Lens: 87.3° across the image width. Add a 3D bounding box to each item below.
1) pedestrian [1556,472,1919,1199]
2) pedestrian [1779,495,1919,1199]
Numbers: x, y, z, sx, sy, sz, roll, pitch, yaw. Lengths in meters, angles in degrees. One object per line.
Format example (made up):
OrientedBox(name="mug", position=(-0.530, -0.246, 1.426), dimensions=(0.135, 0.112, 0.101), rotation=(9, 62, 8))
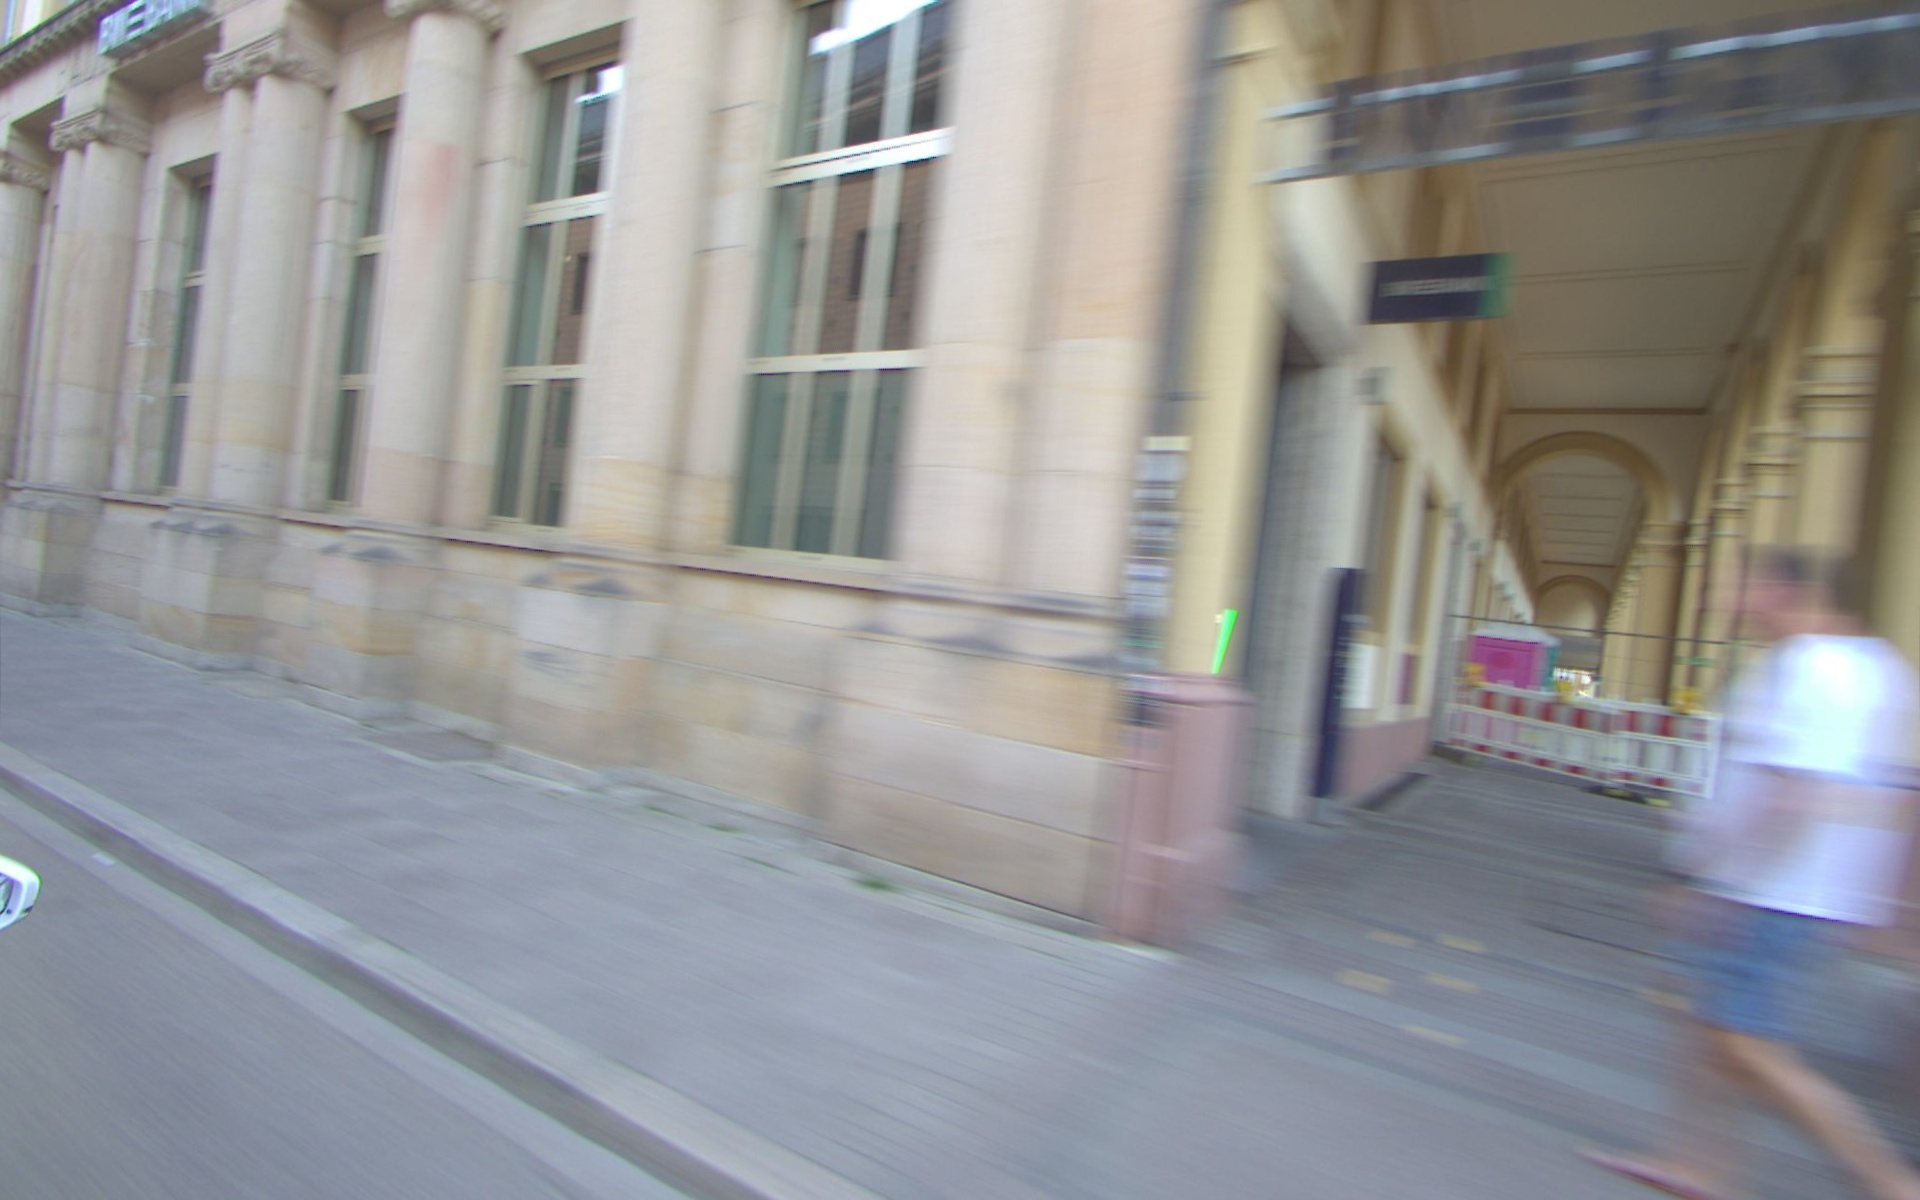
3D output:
OrientedBox(name="pedestrian", position=(2.161, 0.698, 2.616), dimensions=(0.860, 1.898, 0.813), rotation=(7, 0, 31))
OrientedBox(name="pedestrian", position=(1.912, 0.738, 1.509), dimensions=(0.860, 1.768, 0.776), rotation=(7, 0, 31))
